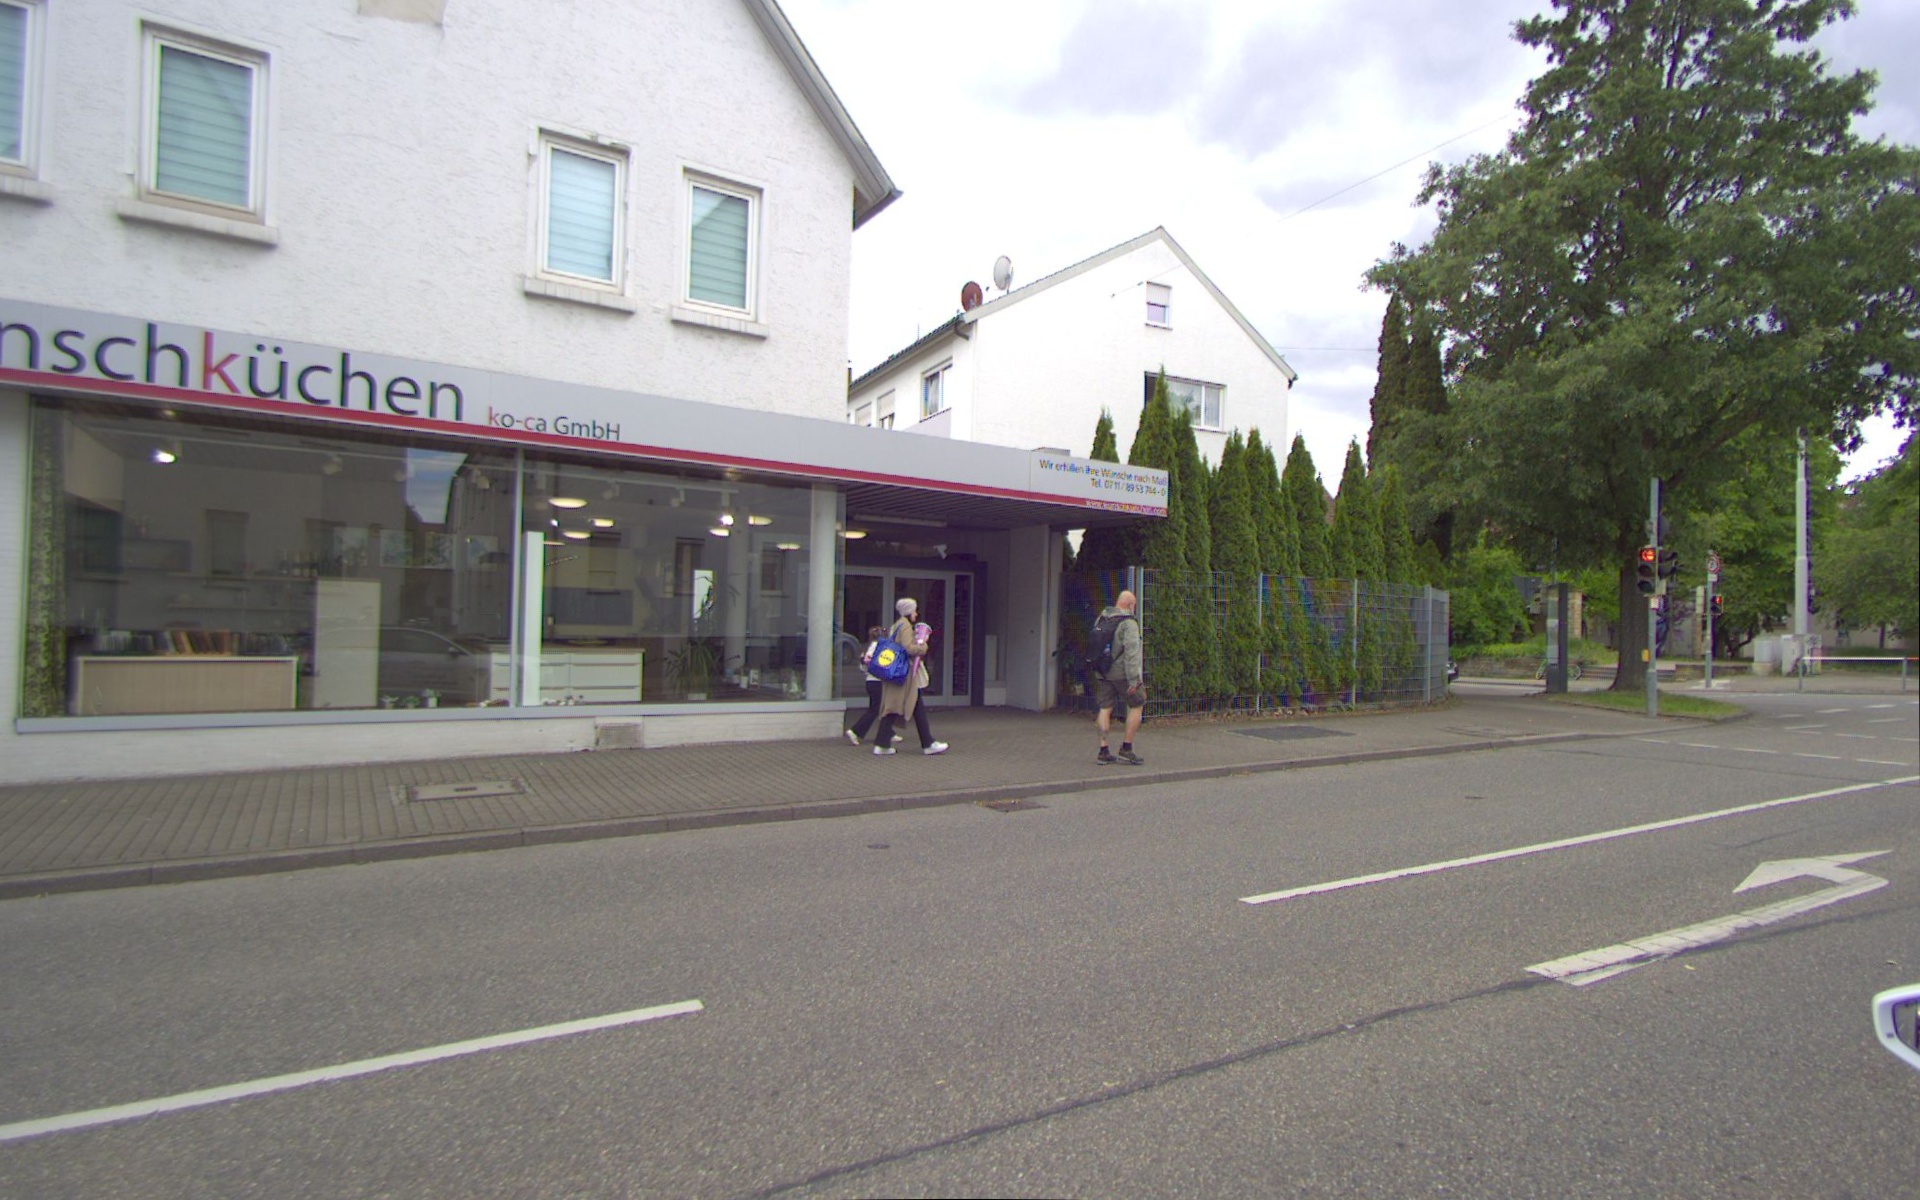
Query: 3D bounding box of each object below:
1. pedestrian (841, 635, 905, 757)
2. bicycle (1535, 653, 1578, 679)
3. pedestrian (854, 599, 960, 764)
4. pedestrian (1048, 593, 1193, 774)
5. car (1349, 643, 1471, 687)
[{"bbox_3d":[-0.957,1.033,11.008,0.546,1.278,0.378,2,0,-41],"label":"pedestrian"},{"bbox_3d":[22.273,2.463,37.532,0.421,0.954,1.304,2,-5,-37],"label":"bicycle"},{"bbox_3d":[-0.556,0.818,10.500,0.860,1.627,0.634,2,0,-41],"label":"pedestrian"},{"bbox_3d":[1.672,0.837,10.517,1.215,1.777,0.817,2,0,-30],"label":"pedestrian"},{"bbox_3d":[15.454,2.204,34.677,1.746,1.417,3.627,1,-2,-23],"label":"car"}]
